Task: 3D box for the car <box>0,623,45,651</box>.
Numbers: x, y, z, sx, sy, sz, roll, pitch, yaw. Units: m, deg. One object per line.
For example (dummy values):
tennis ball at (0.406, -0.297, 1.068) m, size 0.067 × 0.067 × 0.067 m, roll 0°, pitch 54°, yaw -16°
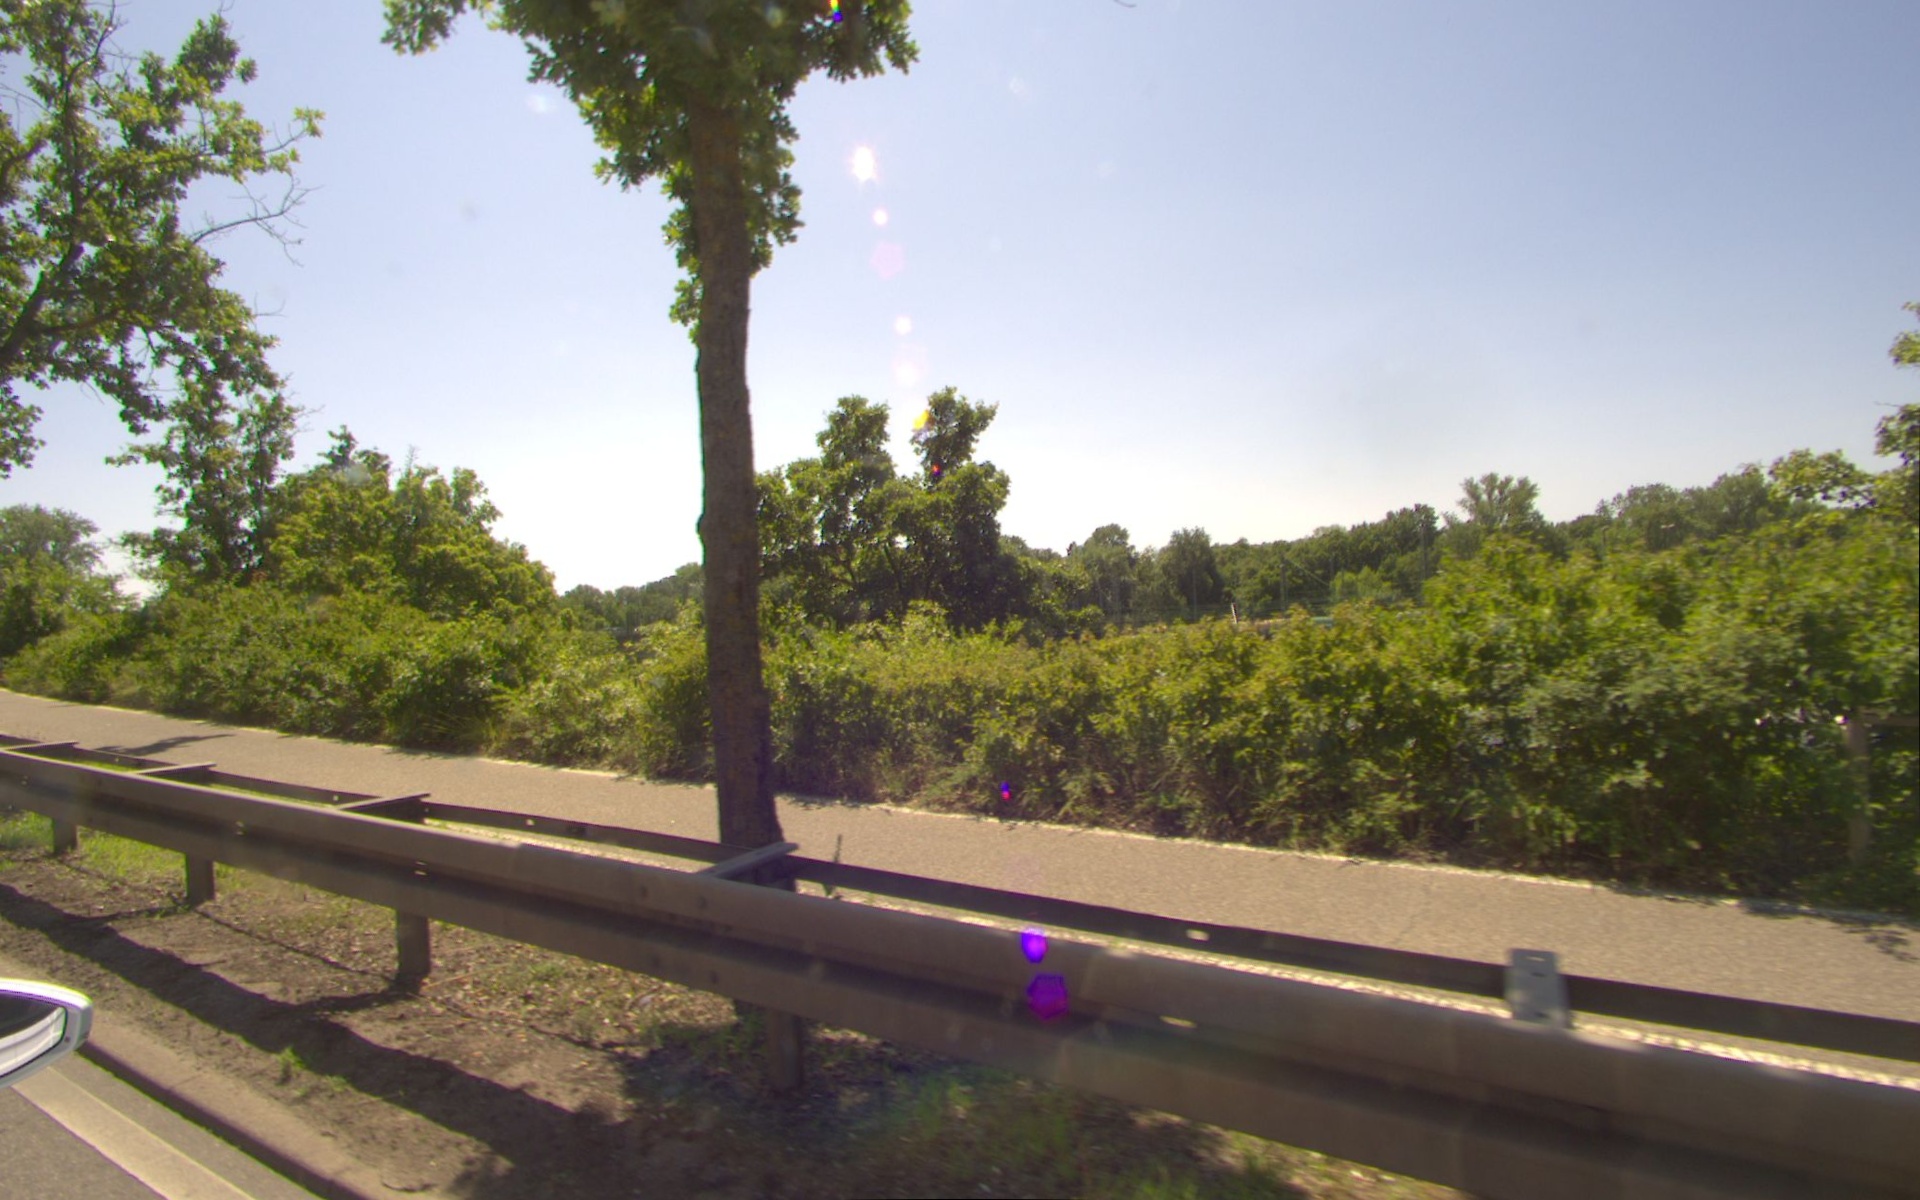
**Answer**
car at (-62.237, 2.453, 65.943) m, size 1.972 × 1.790 × 4.731 m, roll 1°, pitch -2°, yaw -30°
